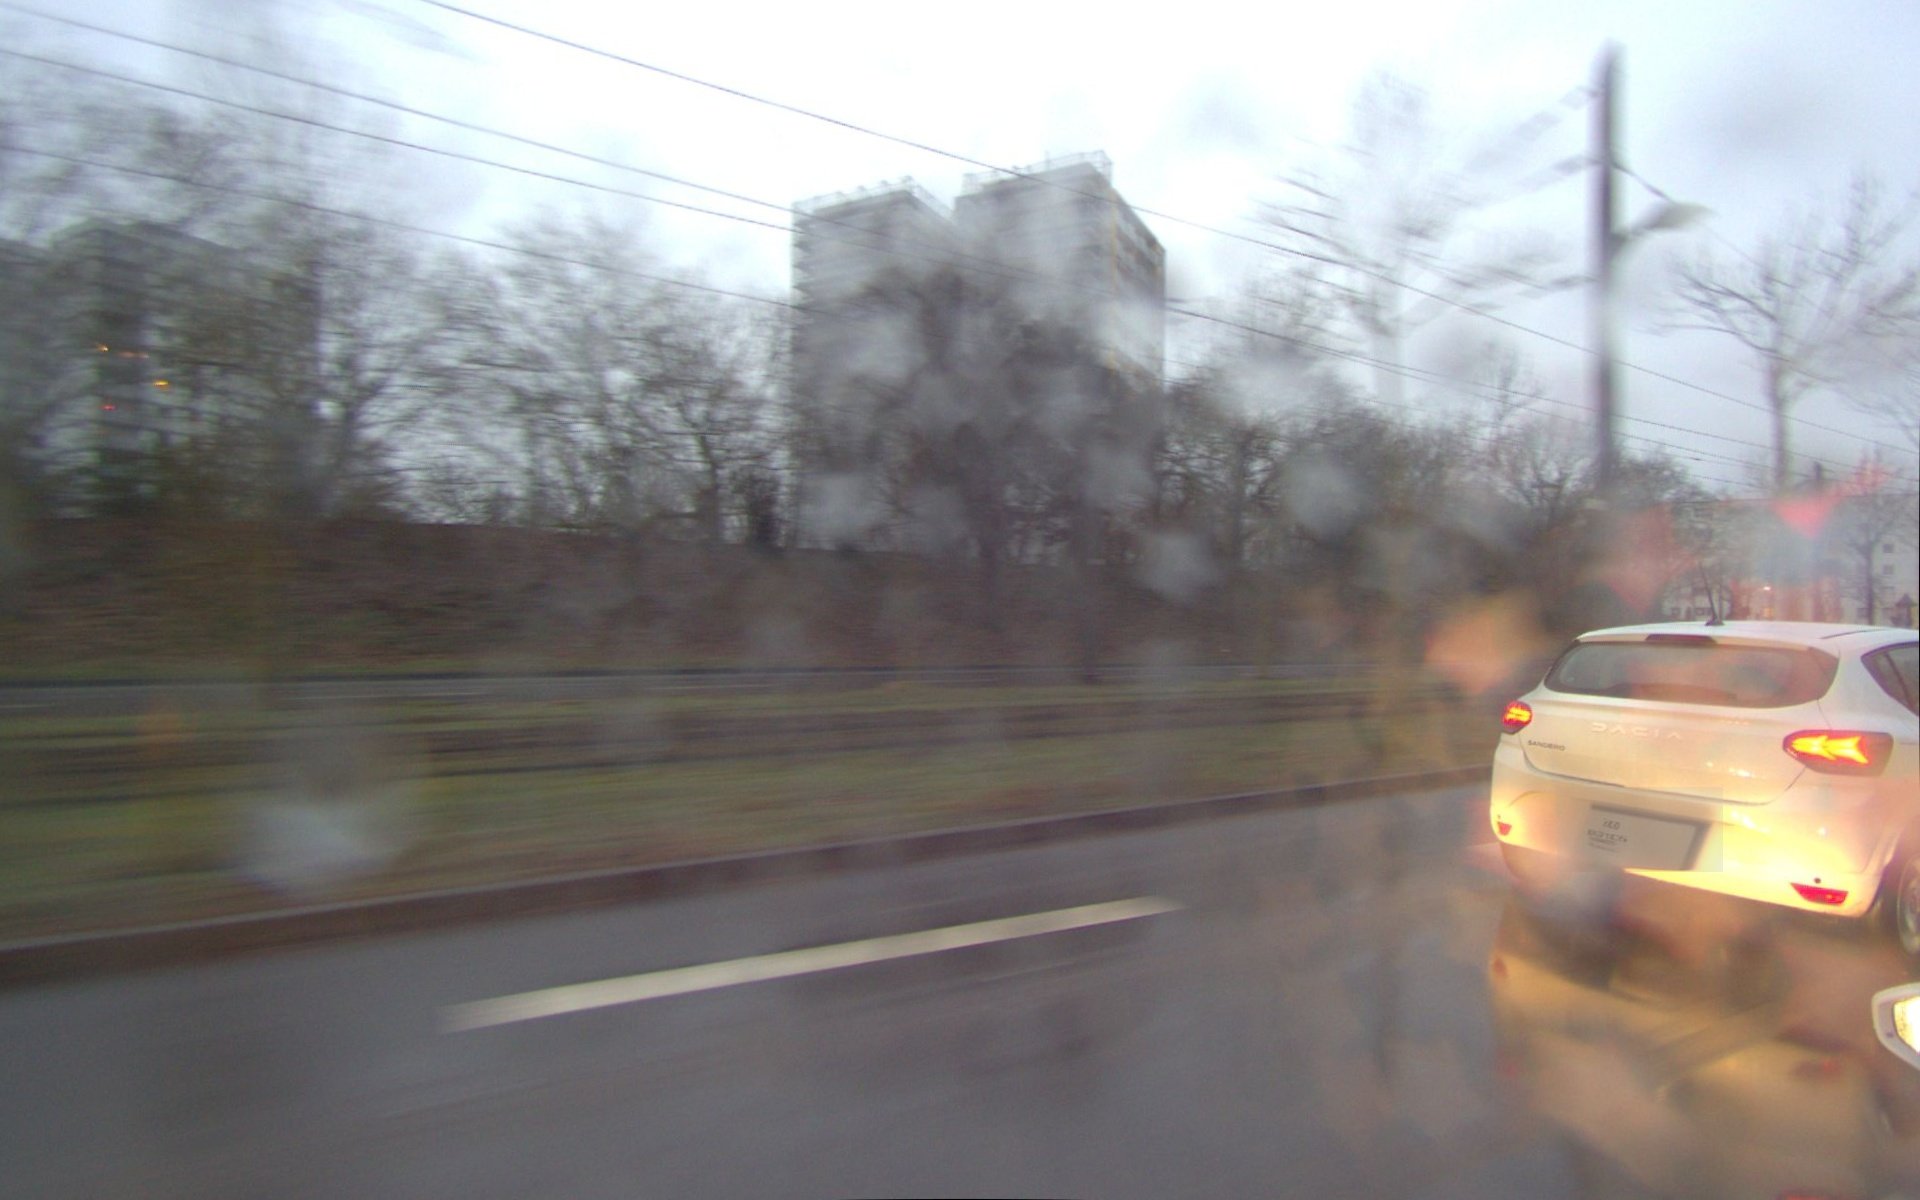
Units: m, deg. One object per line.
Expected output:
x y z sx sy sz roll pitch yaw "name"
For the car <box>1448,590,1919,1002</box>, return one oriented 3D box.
4.738 0.789 5.552 4.086 1.545 1.700 2 -1 -30 "car"
